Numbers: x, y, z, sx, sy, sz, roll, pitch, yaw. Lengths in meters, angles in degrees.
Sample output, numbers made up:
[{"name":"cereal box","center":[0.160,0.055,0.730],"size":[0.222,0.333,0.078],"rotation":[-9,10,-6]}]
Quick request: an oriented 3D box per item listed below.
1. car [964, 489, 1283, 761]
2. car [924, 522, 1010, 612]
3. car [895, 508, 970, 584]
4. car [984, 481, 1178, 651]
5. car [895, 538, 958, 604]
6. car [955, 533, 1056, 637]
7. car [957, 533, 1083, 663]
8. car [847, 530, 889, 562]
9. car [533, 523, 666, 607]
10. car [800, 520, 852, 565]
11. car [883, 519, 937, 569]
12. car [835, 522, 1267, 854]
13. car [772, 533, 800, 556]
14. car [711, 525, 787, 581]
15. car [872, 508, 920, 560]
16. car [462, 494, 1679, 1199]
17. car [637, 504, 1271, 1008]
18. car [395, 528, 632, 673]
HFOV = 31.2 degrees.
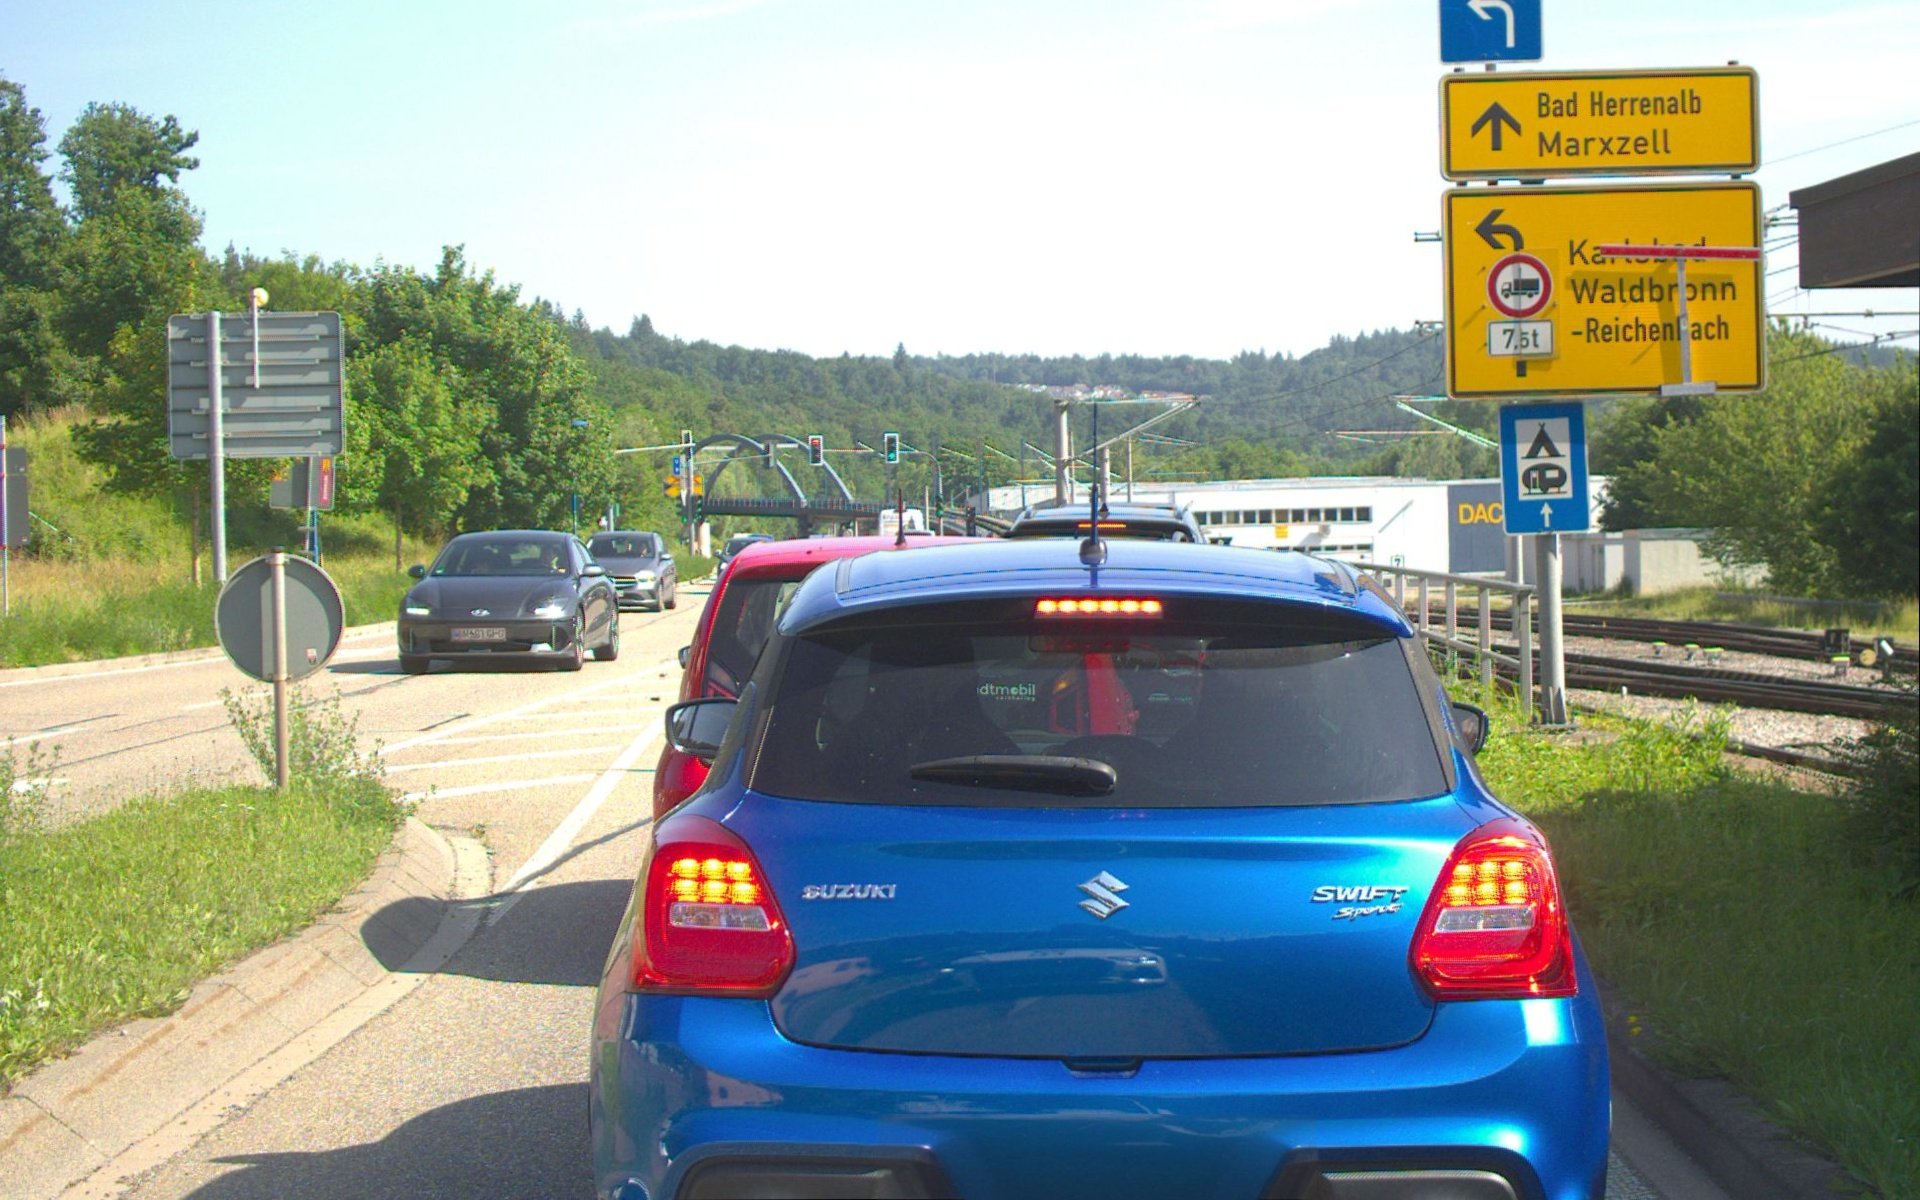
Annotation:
[{"name":"car","center":[1.092,0.109,24.322],"size":[1.993,1.681,4.497],"rotation":[2,1,1]},{"name":"car","center":[0.146,-0.831,83.565],"size":[1.993,2.006,4.001],"rotation":[2,2,-1]},{"name":"car","center":[-0.775,-1.541,96.900],"size":[1.993,2.006,4.001],"rotation":[2,2,-1]},{"name":"car","center":[1.311,-0.402,38.265],"size":[1.993,1.730,4.000],"rotation":[2,1,1]},{"name":"car","center":[-1.110,-0.980,114.449],"size":[1.993,2.006,4.001],"rotation":[2,2,-1]},{"name":"car","center":[0.937,-0.348,72.951],"size":[1.993,2.006,4.001],"rotation":[2,2,-1]},{"name":"car","center":[0.986,-0.064,58.737],"size":[1.993,2.006,4.001],"rotation":[2,2,-1]},{"name":"car","center":[-4.560,-2.692,171.675],"size":[1.993,1.549,4.215],"rotation":[1,1,-1]},{"name":"car","center":[-6.960,-0.709,66.838],"size":[1.993,1.558,4.509],"rotation":[0,1,1]},{"name":"car","center":[-5.456,-2.343,140.364],"size":[1.993,1.777,4.000],"rotation":[1,1,-1]},{"name":"car","center":[-1.928,-2.179,132.828],"size":[1.993,1.810,4.001],"rotation":[2,2,-1]},{"name":"car","center":[0.463,0.357,18.241],"size":[1.993,1.526,4.602],"rotation":[0,1,1]},{"name":"car","center":[-13.200,-4.213,260.962],"size":[1.993,1.659,4.000],"rotation":[1,1,-1]},{"name":"car","center":[-5.527,-1.242,90.350],"size":[1.672,1.436,3.840],"rotation":[1,1,1]},{"name":"car","center":[-2.730,-2.824,147.801],"size":[1.993,2.137,4.720],"rotation":[1,1,-1]},{"name":"car","center":[0.127,0.572,7.305],"size":[1.868,1.543,4.000],"rotation":[0,1,-1]},{"name":"car","center":[0.014,0.466,12.975],"size":[1.993,1.566,4.000],"rotation":[1,1,1]},{"name":"car","center":[-4.781,-0.043,37.426],"size":[1.791,1.465,4.716],"rotation":[0,1,2]}]
